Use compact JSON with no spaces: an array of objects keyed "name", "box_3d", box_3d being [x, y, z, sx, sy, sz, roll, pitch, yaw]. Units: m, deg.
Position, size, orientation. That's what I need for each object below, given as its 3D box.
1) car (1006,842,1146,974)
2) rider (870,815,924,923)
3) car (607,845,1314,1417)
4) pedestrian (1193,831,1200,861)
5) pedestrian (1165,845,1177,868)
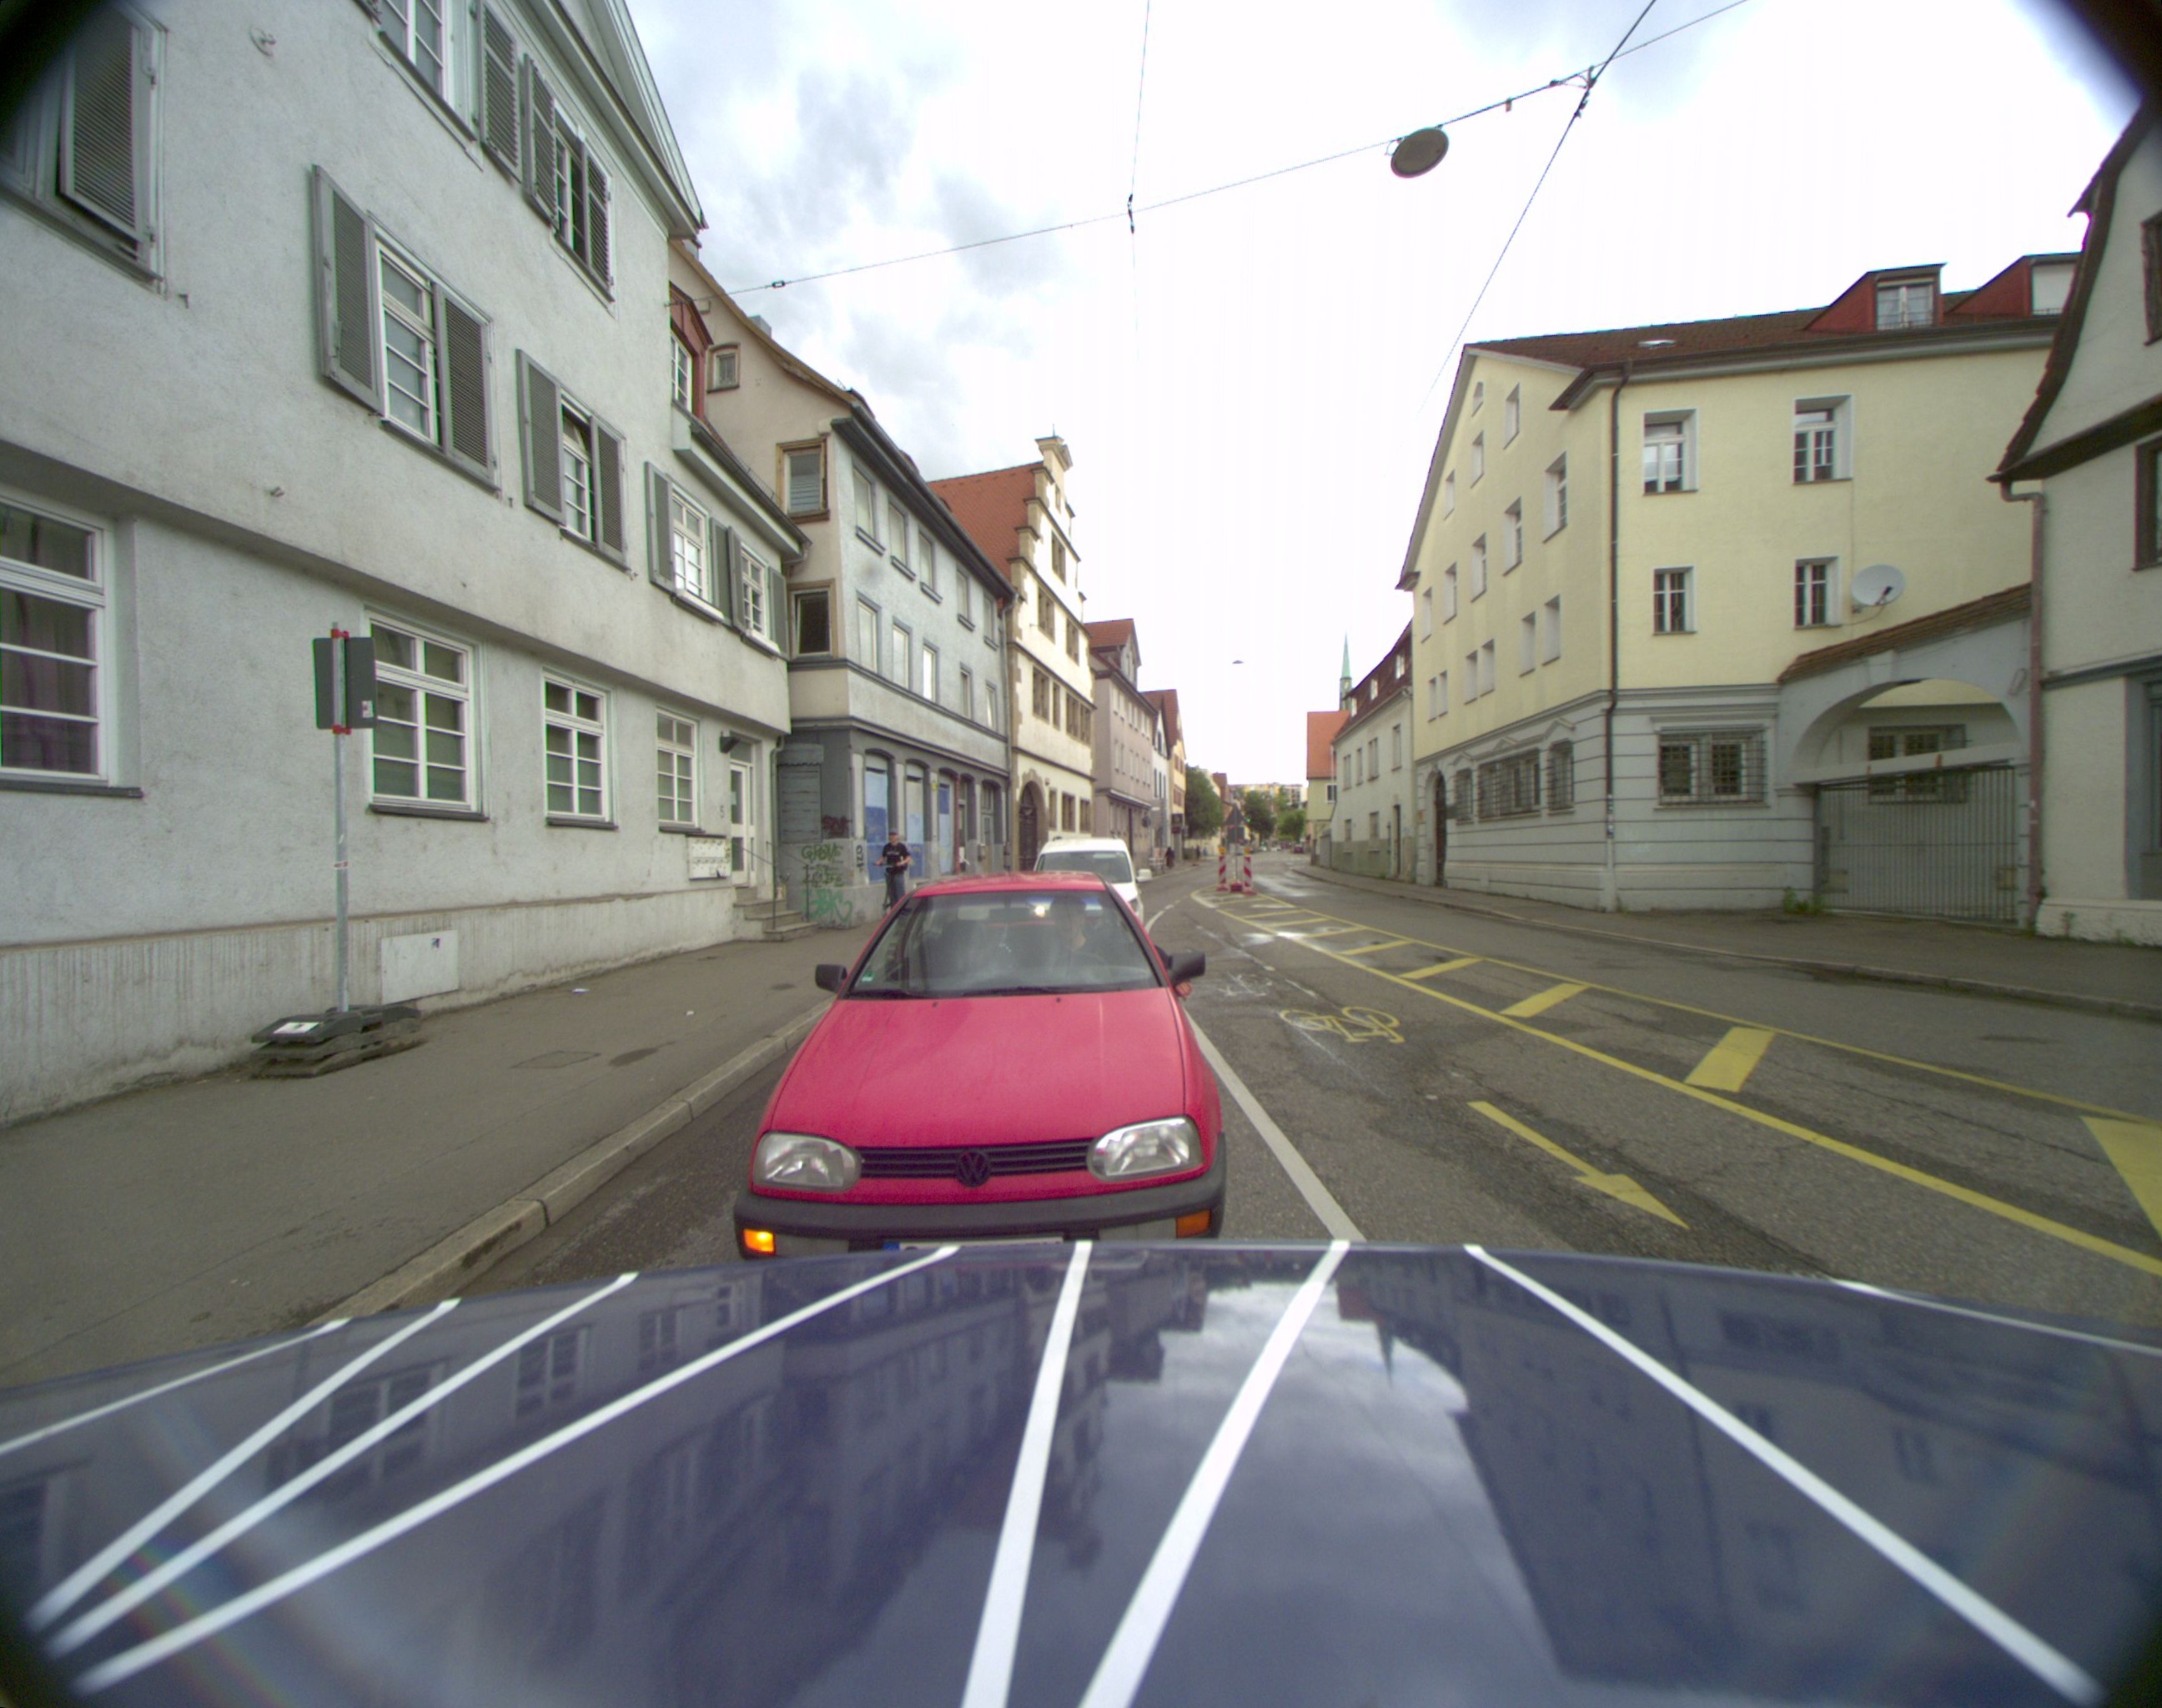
[{"name":"car","box_3d":[0.019,0.691,12.160,1.814,1.695,4.256,-1,1,2]},{"name":"rider","box_3d":[-3.216,0.251,13.319,0.719,1.837,0.797,-1,1,1]},{"name":"car","box_3d":[-0.292,0.788,3.956,1.792,1.417,4.001,-2,-2,1]},{"name":"pedestrian","box_3d":[9.664,-0.654,63.720,0.495,2.513,0.746,-1,1,12]},{"name":"pedestrian","box_3d":[6.260,0.166,52.943,0.725,1.604,0.649,-1,0,14]}]
